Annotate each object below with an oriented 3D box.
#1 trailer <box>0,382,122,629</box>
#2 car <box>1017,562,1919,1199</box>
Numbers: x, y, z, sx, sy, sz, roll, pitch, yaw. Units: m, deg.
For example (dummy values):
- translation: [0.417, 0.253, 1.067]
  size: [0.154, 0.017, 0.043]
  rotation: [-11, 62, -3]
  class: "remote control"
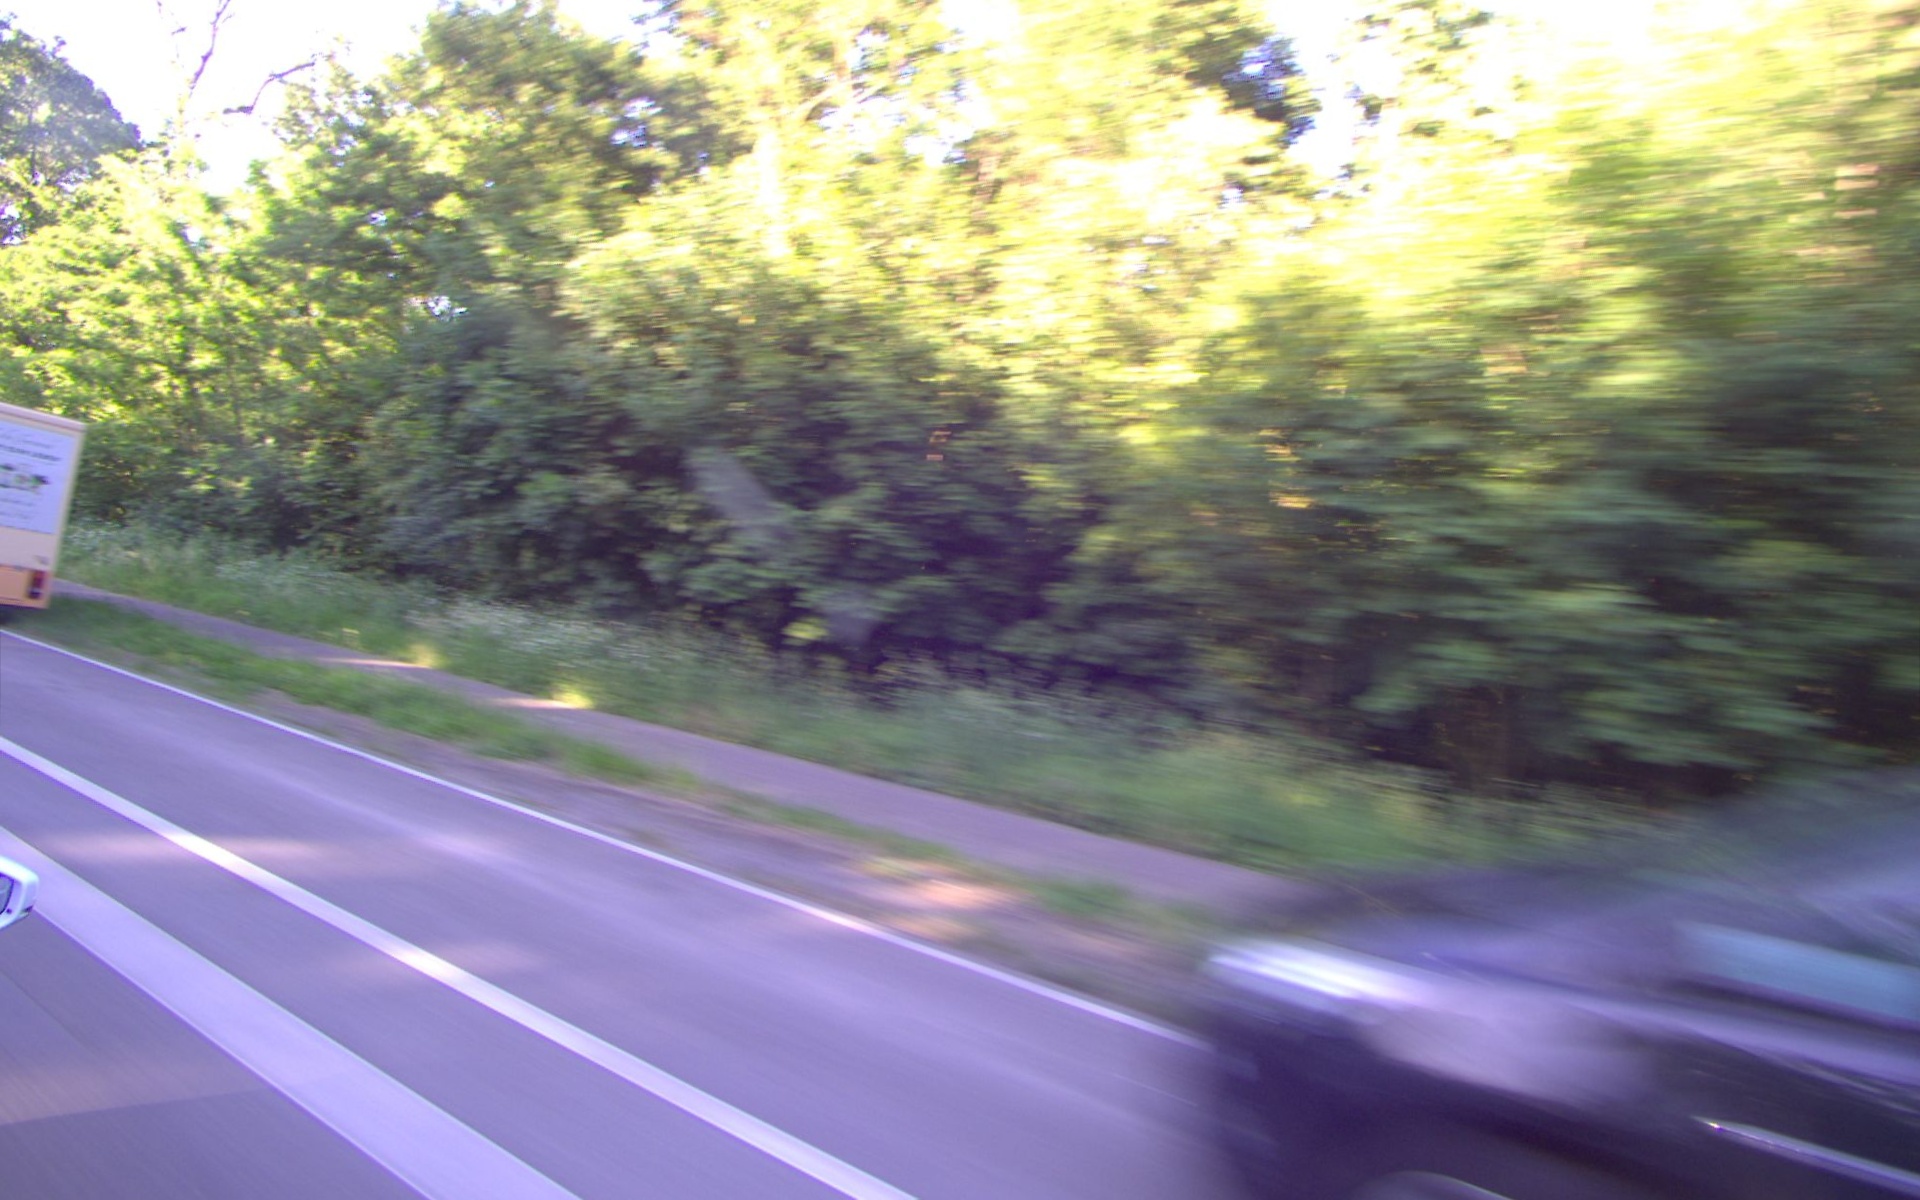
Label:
- translation: [-16.040, -1.693, 14.361]
  size: [9.718, 2.871, 2.930]
  rotation: [6, -4, 31]
  class: "trailer"
- translation: [2.586, 1.056, 1.986]
  size: [4.526, 1.710, 1.803]
  rotation: [6, -2, 32]
  class: "car"
